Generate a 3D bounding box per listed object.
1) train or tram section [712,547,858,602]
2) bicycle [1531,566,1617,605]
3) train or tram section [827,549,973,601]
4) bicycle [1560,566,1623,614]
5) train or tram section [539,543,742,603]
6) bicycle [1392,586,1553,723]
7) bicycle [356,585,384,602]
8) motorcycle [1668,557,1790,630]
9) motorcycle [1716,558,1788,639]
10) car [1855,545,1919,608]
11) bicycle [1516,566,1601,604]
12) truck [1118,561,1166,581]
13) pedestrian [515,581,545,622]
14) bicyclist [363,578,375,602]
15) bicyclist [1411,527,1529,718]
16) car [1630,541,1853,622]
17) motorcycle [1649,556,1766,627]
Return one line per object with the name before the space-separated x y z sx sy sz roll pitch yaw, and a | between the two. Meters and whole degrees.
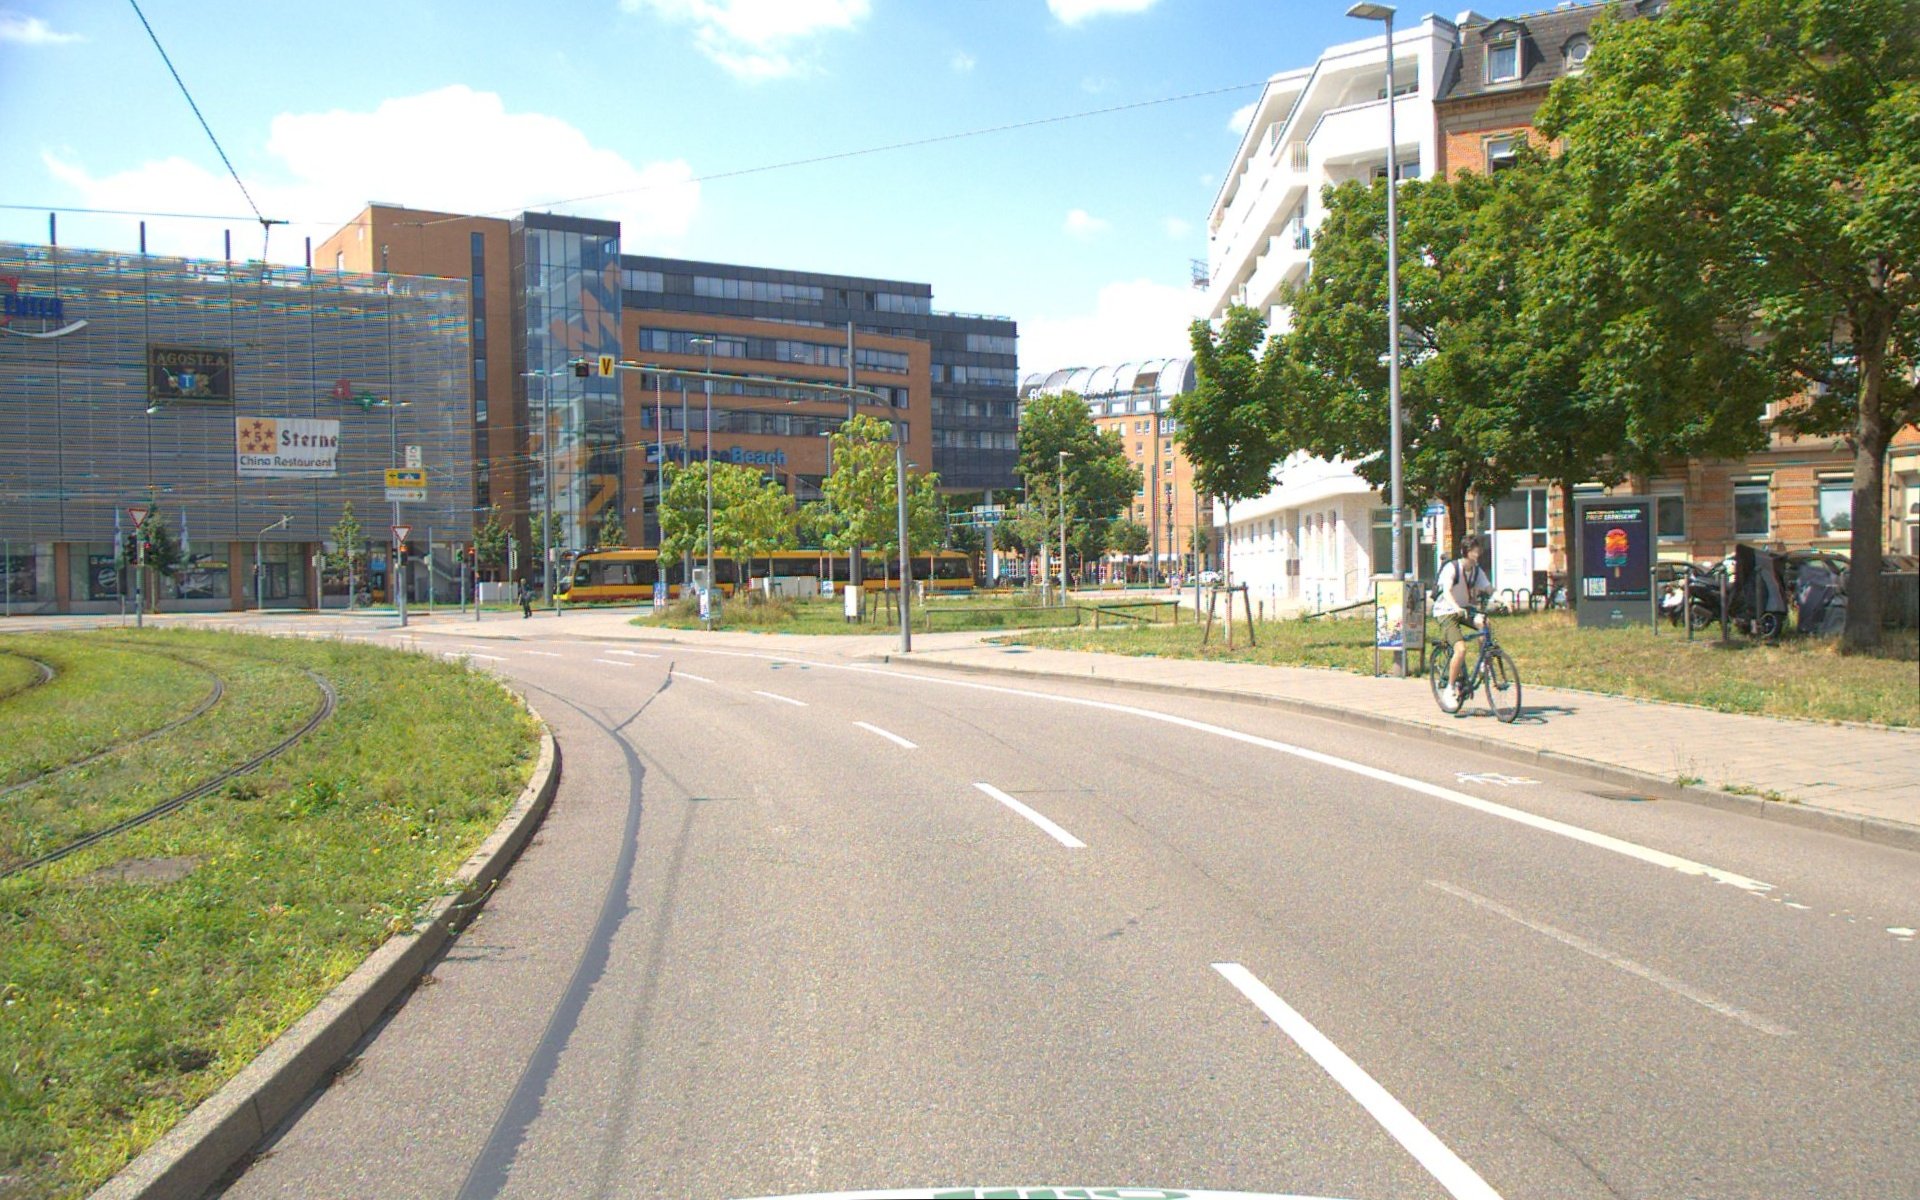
train or tram section | -12.007 -1.740 114.868 3.011 3.666 10.924 0 1 42
bicycle | 15.963 -0.386 42.975 2.350 0.986 0.540 0 0 -22
train or tram section | -4.318 -1.847 123.272 3.012 3.684 12.555 0 1 43
bicycle | 12.503 -0.201 32.779 0.531 0.917 1.821 0 0 -1
train or tram section | -20.271 -1.684 106.091 3.173 3.662 13.405 0 1 44
bicycle | 5.199 0.516 16.913 0.682 1.263 1.833 -4 2 -13
bicycle | -41.273 -0.458 115.688 1.745 1.245 0.577 0 0 -34
motorcycle | 13.005 -0.108 27.995 1.746 1.187 0.640 -1 1 1
motorcycle | 12.117 -0.044 25.340 0.624 1.187 1.908 -1 1 15
car | 24.069 -0.572 41.232 1.624 1.518 3.855 0 0 3
bicycle | 15.751 -0.391 43.522 2.350 0.986 0.540 0 0 -22
truck | 19.964 -3.185 181.664 1.979 2.122 5.449 0 1 -38
pedestrian | -18.820 0.059 72.436 0.898 1.732 0.807 -2 1 27
bicyclist | -41.321 -0.681 115.649 0.656 1.652 0.544 0 0 -34
bicyclist | 5.192 0.211 16.880 0.682 1.856 0.953 -4 2 -13
car | 15.360 -0.387 32.469 4.195 1.452 1.790 -2 1 -27
motorcycle | 13.037 -0.153 28.876 1.746 1.187 0.640 -1 1 1
